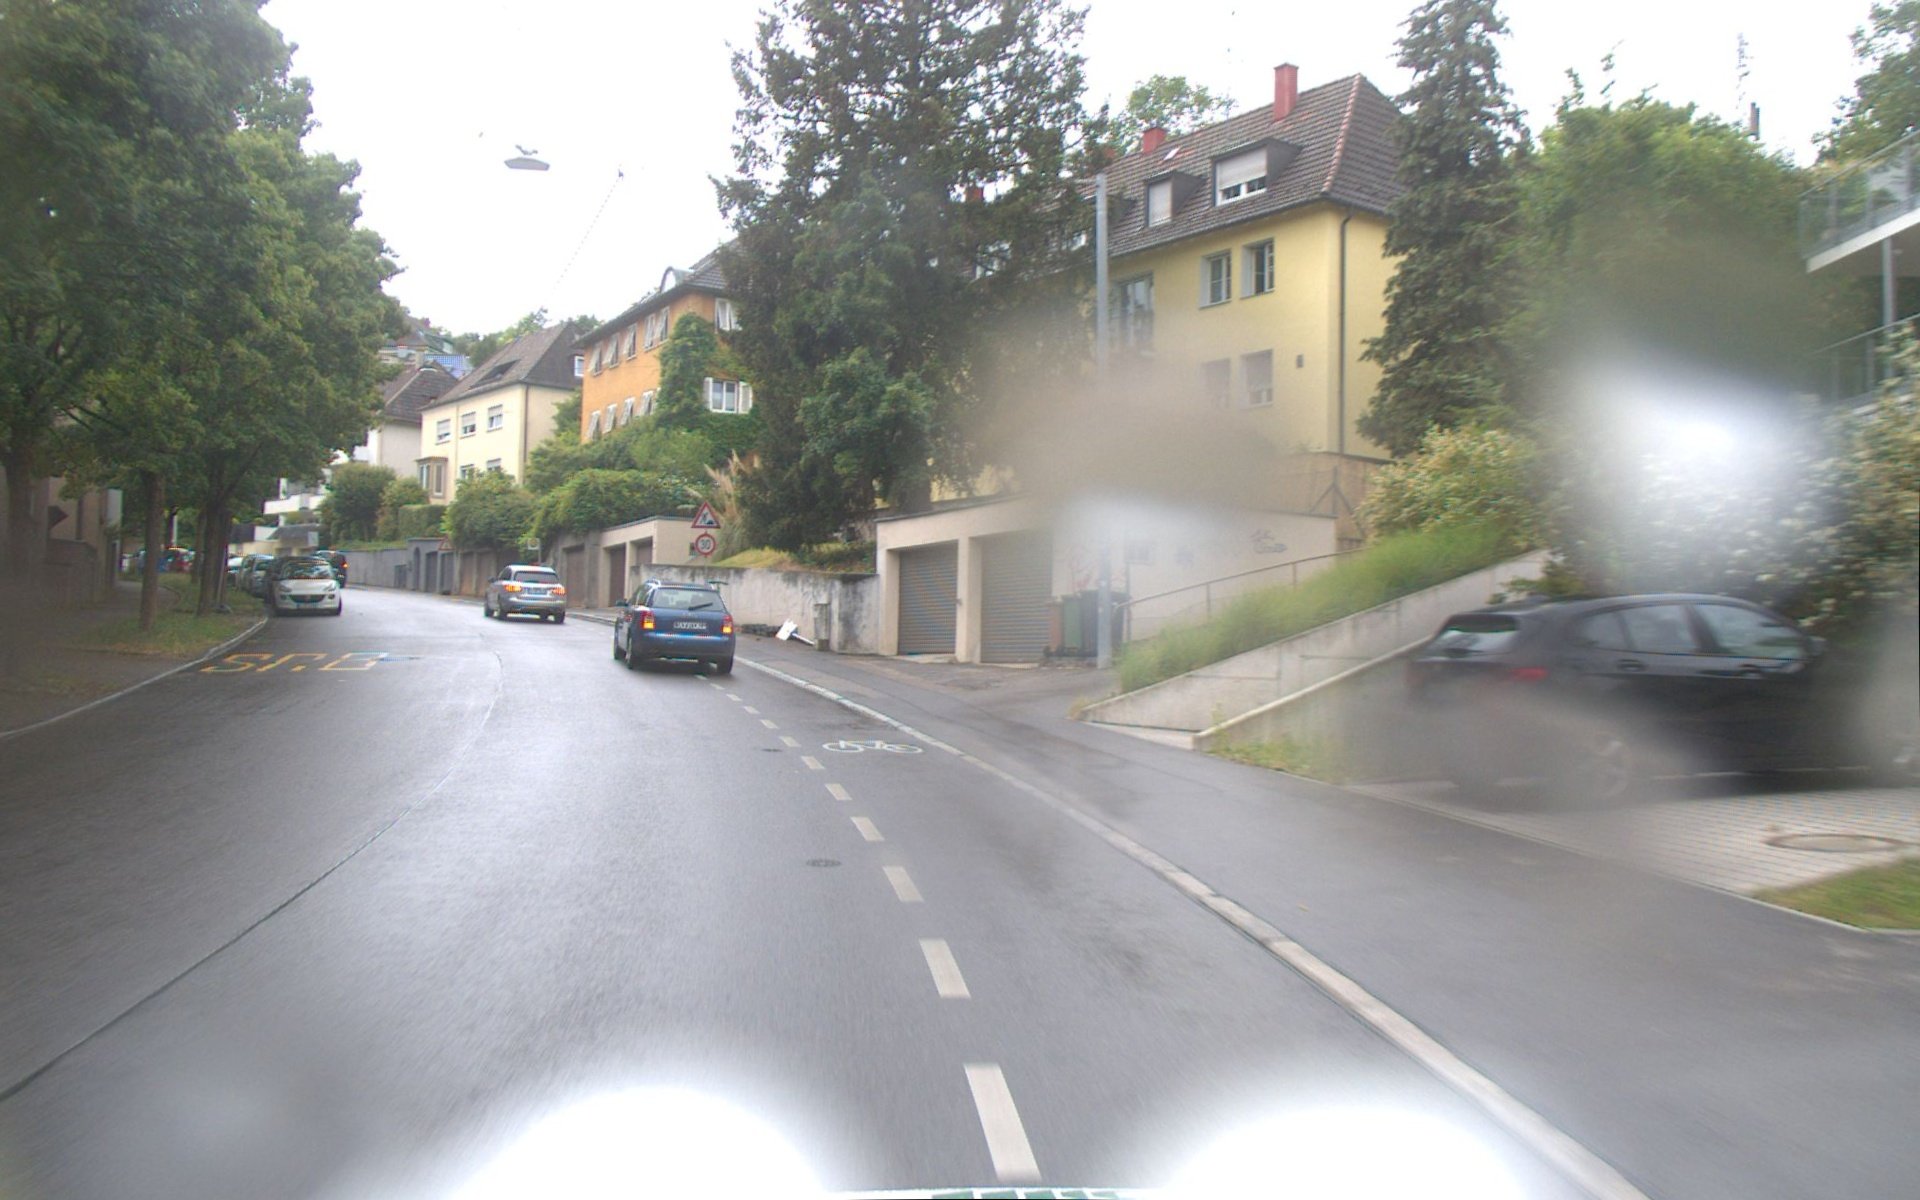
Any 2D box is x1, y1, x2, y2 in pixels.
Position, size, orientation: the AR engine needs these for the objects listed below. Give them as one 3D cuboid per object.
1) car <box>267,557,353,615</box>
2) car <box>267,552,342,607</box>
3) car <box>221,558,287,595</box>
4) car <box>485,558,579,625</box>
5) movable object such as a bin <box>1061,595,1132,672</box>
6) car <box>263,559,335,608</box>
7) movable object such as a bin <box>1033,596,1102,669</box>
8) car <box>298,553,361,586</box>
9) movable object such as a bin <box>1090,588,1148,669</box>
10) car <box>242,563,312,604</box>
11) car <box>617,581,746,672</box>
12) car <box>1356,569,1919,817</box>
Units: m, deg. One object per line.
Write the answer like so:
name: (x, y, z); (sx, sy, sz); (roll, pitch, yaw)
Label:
car: (-18.524, -0.405, 47.027); (1.969, 1.556, 3.967); (1, 1, -26)
car: (-20.440, -0.645, 51.485); (1.855, 1.624, 3.967); (1, 1, -26)
car: (-29.279, -0.972, 68.528); (1.974, 1.501, 3.957); (0, 1, -31)
car: (-11.862, -0.271, 45.684); (1.923, 1.588, 4.235); (2, 2, -23)
movable object such as a bin: (2.188, 0.519, 26.556); (0.851, 1.206, 0.779); (0, 1, -32)
car: (-22.604, -0.577, 56.464); (1.970, 1.601, 3.965); (0, 1, -27)
movable object such as a bin: (1.767, 0.520, 27.233); (0.851, 1.162, 0.791); (0, 1, -32)
car: (-33.271, -1.617, 87.179); (1.980, 1.713, 3.944); (1, 1, -39)
movable object such as a bin: (2.493, 0.430, 25.931); (0.695, 1.244, 0.574); (0, 0, -32)
car: (-25.986, -0.619, 62.872); (1.972, 1.501, 3.960); (0, 1, -30)
car: (-4.852, 0.390, 28.384); (1.823, 1.438, 4.345); (0, 1, -14)
car: (5.236, 0.599, 12.308); (4.097, 1.534, 1.735); (-2, 1, -13)
